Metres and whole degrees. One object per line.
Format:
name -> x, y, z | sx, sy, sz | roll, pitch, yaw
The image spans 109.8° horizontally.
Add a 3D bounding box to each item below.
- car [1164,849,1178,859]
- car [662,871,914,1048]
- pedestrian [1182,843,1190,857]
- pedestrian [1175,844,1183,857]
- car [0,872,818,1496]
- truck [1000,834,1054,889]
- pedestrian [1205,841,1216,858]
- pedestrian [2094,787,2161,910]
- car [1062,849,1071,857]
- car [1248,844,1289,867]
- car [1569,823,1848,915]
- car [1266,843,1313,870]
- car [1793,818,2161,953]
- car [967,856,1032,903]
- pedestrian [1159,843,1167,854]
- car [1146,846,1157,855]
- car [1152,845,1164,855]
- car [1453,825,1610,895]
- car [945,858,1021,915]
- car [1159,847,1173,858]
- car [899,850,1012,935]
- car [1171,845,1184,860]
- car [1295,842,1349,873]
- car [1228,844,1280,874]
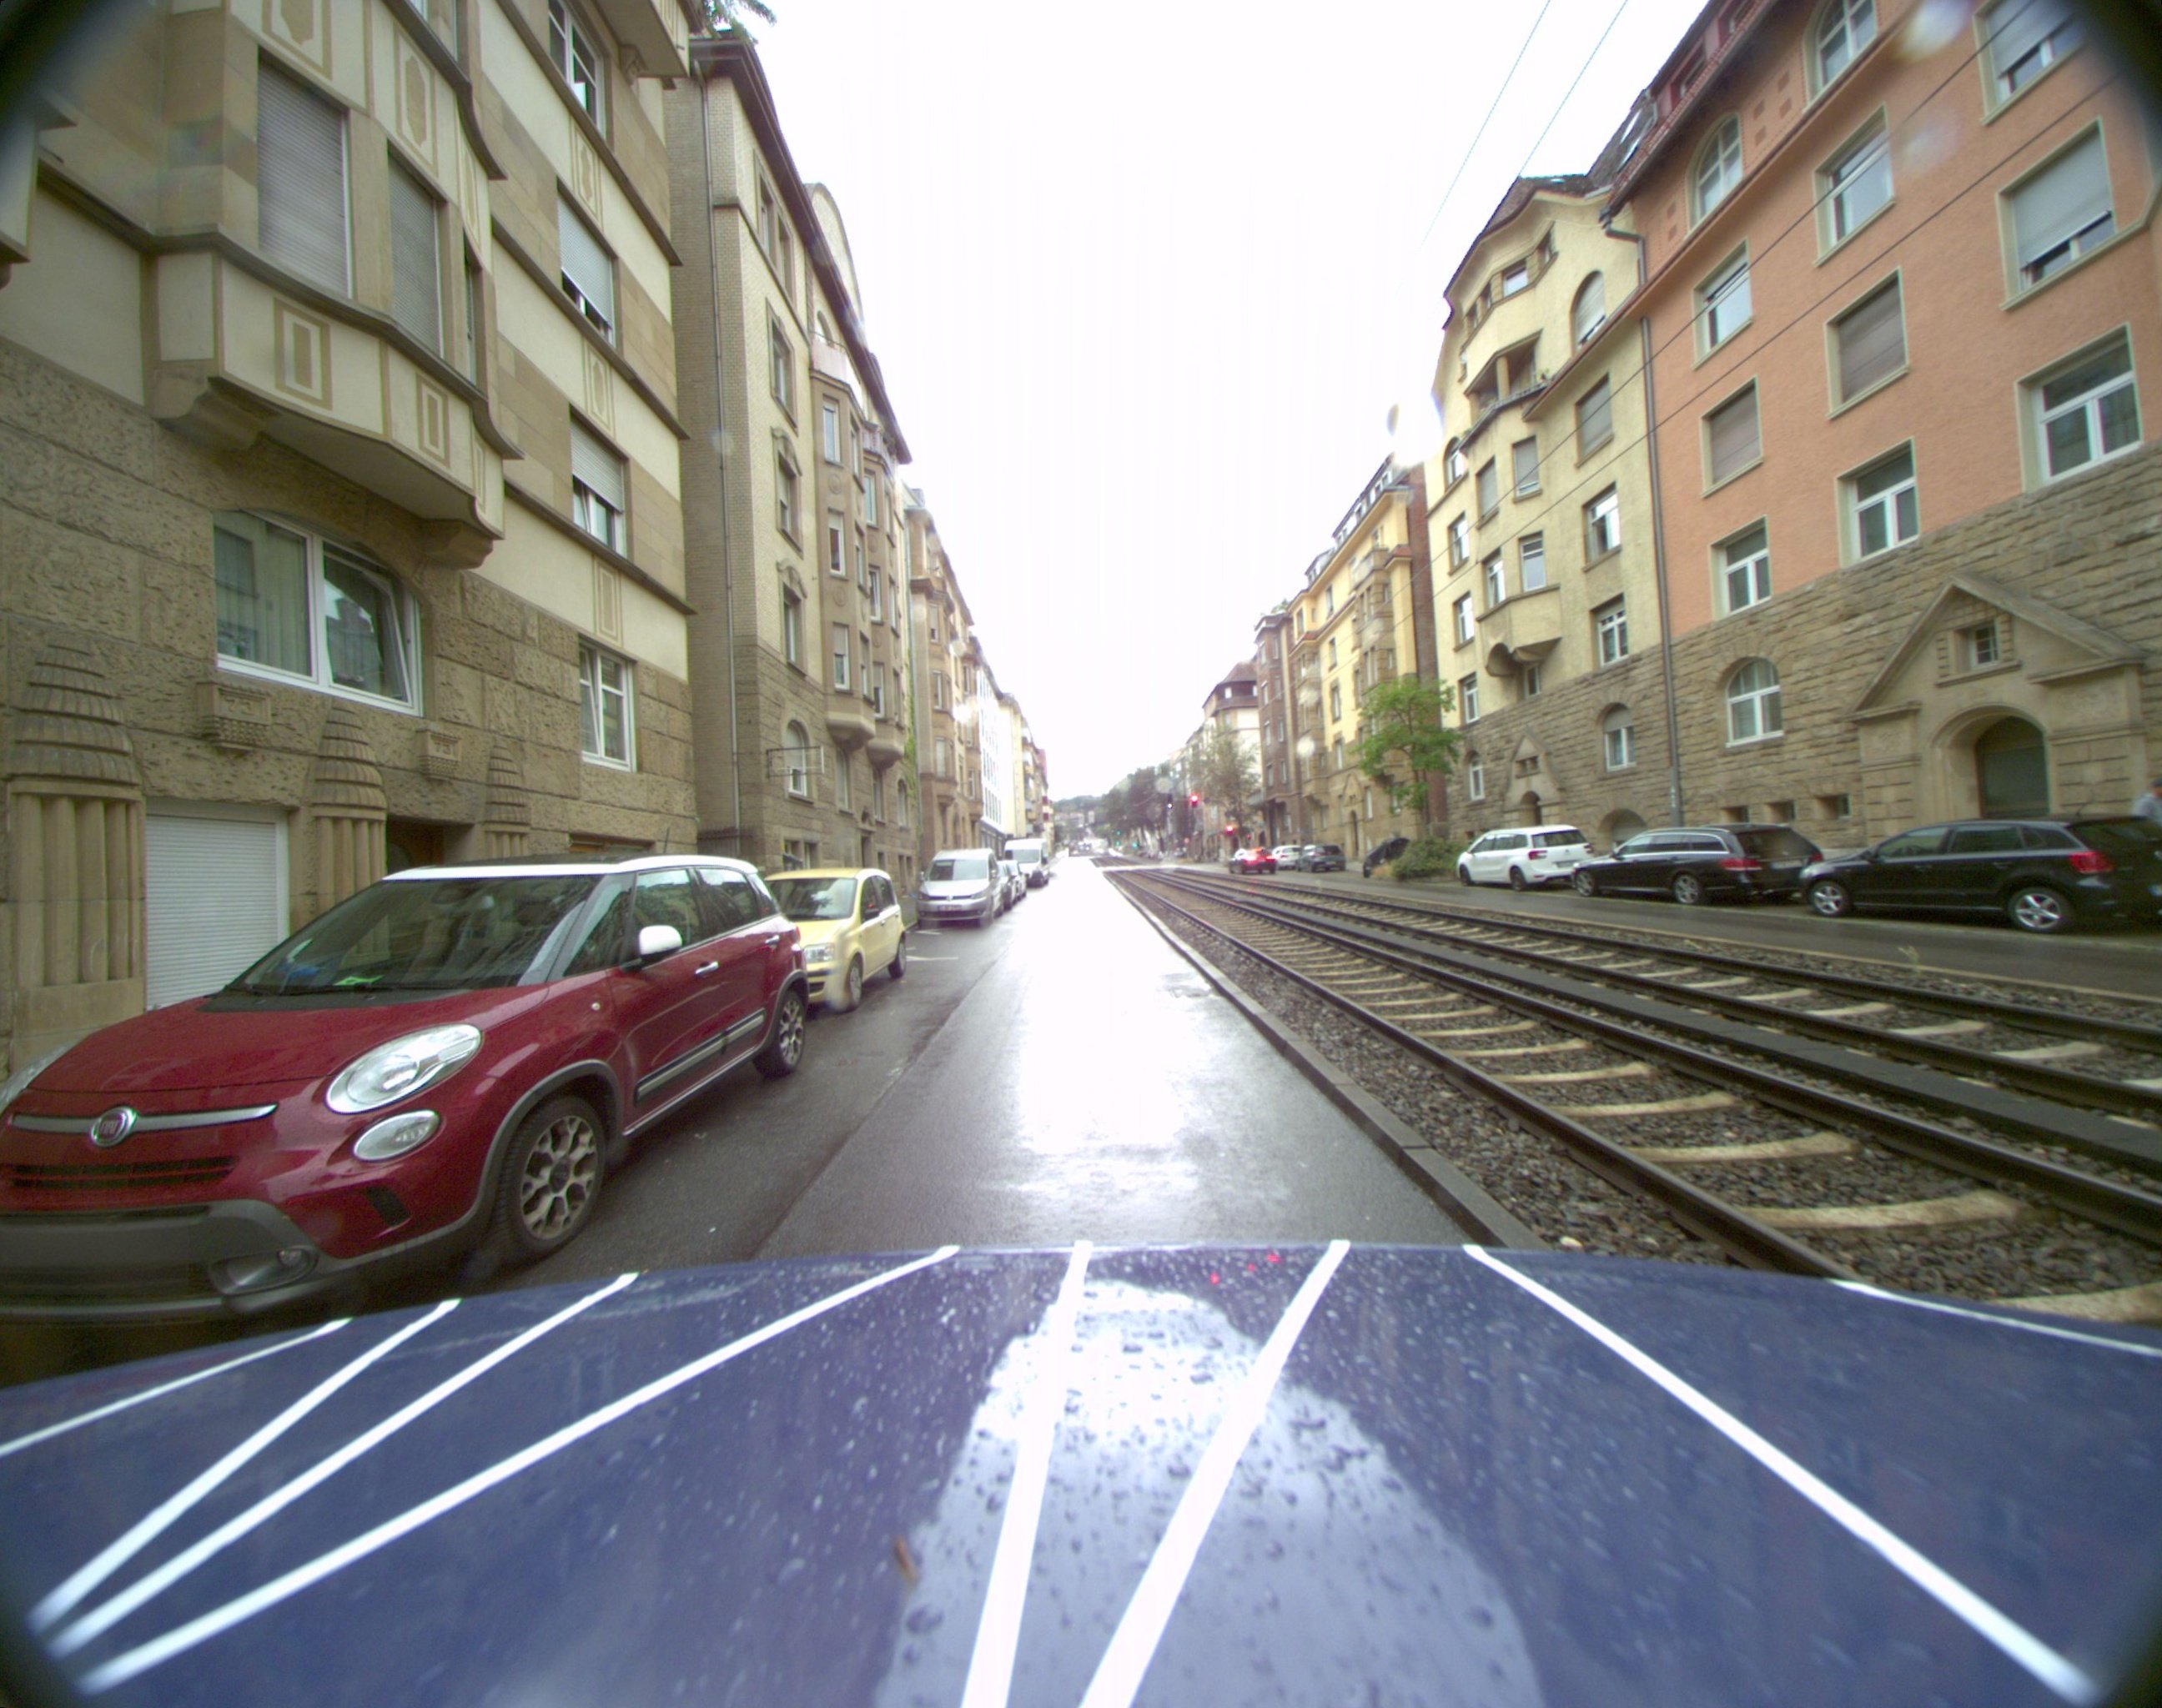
car -> 12.575, -0.070, 106.389 | 1.583, 1.303, 3.845 | -3, 0, 1
car -> -3.190, 1.047, 9.047 | 1.580, 1.520, 3.578 | -3, 0, -1
pedestrian -> 15.927, -0.614, 114.999 | 1.056, 1.946, 1.163 | -3, 1, 2
pedestrian -> 14.800, -0.575, 115.005 | 1.056, 1.946, 1.163 | -3, 1, 2
car -> -3.034, 0.984, 4.098 | 1.807, 1.590, 3.999 | -3, 0, -1
truck -> -2.723, 0.353, 39.951 | 2.235, 2.521, 6.143 | -3, 0, 1
pedestrian -> 15.047, -0.508, 88.299 | 1.056, 1.946, 1.163 | -3, 1, 2
pedestrian -> 14.902, -0.096, 10.491 | 0.701, 1.633, 0.765 | -6, 1, 1
car -> -3.771, -0.285, 194.894 | 1.998, 1.838, 4.000 | -3, 0, 1
car -> 12.482, 0.082, 50.753 | 1.771, 1.433, 3.845 | -3, 0, 1
car -> 12.291, 0.259, 15.390 | 1.847, 1.486, 4.601 | -3, 0, 1
car -> 12.472, 0.134, 45.659 | 1.771, 1.433, 4.031 | -3, 0, 2
car -> 12.528, 0.326, 10.472 | 1.935, 1.488, 3.642 | -2, 1, -2
car -> -2.953, 0.890, 28.322 | 1.891, 1.521, 3.929 | -3, 0, 1
pedestrian -> 15.459, -0.999, 142.992 | 1.380, 1.946, 1.379 | -3, 1, 2
car -> 12.437, -0.611, 133.710 | 1.632, 1.537, 3.801 | -3, 0, 1
car -> 12.841, -0.612, 126.841 | 1.657, 1.589, 3.775 | -3, 0, 1
car -> 12.272, 0.147, 21.052 | 1.867, 1.646, 4.146 | -3, 0, 1
car -> -2.964, 0.947, 23.822 | 1.999, 1.521, 3.999 | -3, 0, -3
car -> 12.871, -0.257, 115.371 | 1.771, 1.507, 3.845 | -3, 0, 1
car -> -3.011, 0.856, 19.205 | 1.968, 1.792, 4.459 | -3, 0, 1
car -> 12.674, -0.216, 99.551 | 1.583, 1.669, 3.790 | -3, 2, 7
car -> 12.504, 0.144, 39.620 | 1.678, 1.433, 3.845 | -4, 1, 3
car -> 9.655, 0.270, 42.710 | 1.807, 1.514, 4.964 | -2, 0, 1
